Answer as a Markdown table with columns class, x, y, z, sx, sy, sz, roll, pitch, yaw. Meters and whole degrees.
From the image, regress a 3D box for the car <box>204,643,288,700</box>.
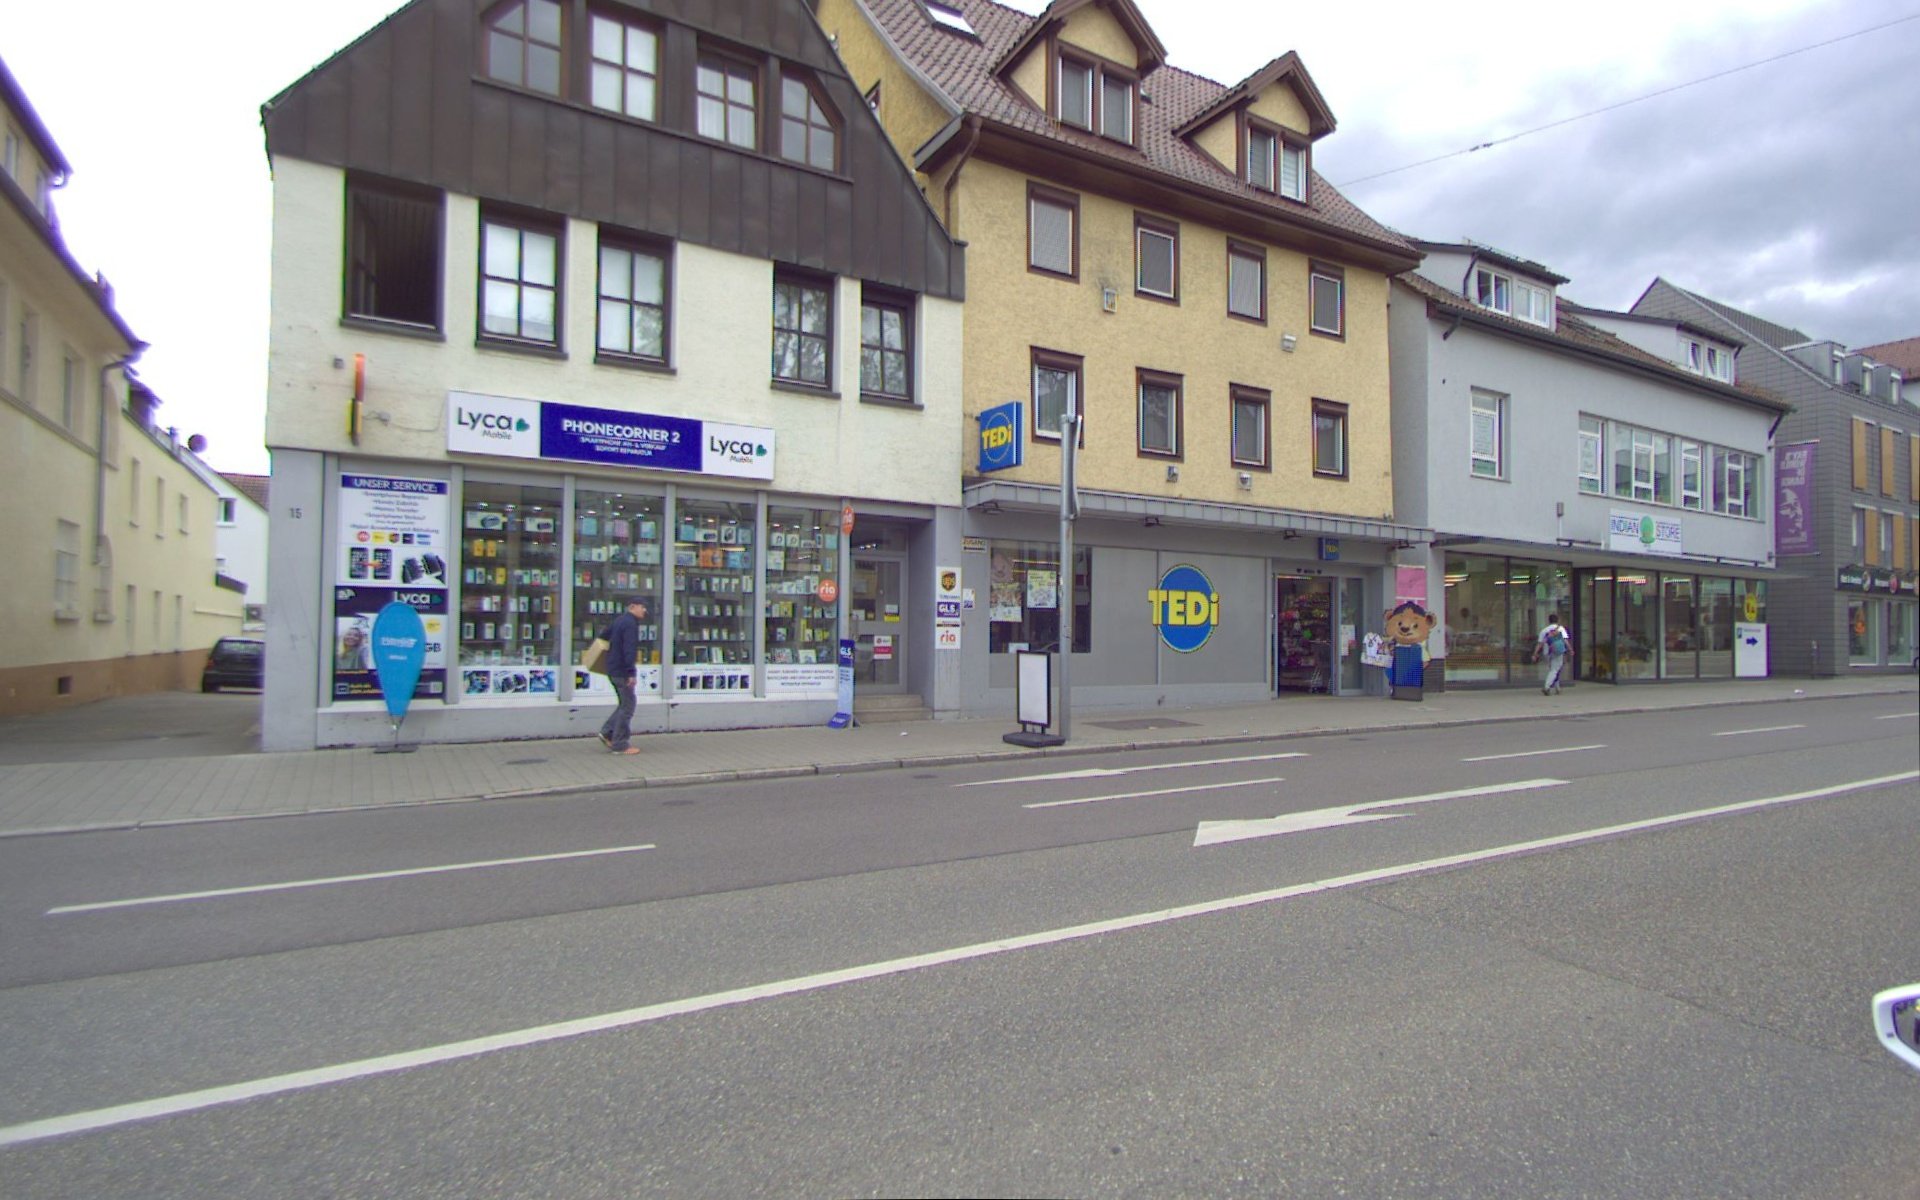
| class | x | y | z | sx | sy | sz | roll | pitch | yaw |
| --- | --- | --- | --- | --- | --- | --- | --- | --- | --- |
| car | -21.011 | 2.066 | 29.506 | 1.711 | 1.416 | 3.956 | 7 | -5 | -38 |

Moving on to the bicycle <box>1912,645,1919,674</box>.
| class | x | y | z | sx | sy | sz | roll | pitch | yaw |
| --- | --- | --- | --- | --- | --- | --- | --- | --- | --- |
| bicycle | 32.751 | 2.029 | 34.243 | 1.472 | 0.966 | 0.323 | 2 | -2 | -42 |

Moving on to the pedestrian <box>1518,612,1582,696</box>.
| class | x | y | z | sx | sy | sz | roll | pitch | yaw |
| --- | --- | --- | --- | --- | --- | --- | --- | --- | --- |
| pedestrian | 12.719 | 1.146 | 21.657 | 0.969 | 1.728 | 0.750 | 1 | 2 | -31 |

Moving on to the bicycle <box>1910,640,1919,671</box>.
| class | x | y | z | sx | sy | sz | roll | pitch | yaw |
| --- | --- | --- | --- | --- | --- | --- | --- | --- | --- |
| bicycle | 35.752 | 2.069 | 37.436 | 1.280 | 1.142 | 0.383 | 1 | -2 | -41 |

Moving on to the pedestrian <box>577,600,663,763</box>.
| class | x | y | z | sx | sy | sz | roll | pitch | yaw |
| --- | --- | --- | --- | --- | --- | --- | --- | --- | --- |
| pedestrian | -3.786 | 0.873 | 11.162 | 0.766 | 1.736 | 0.683 | 1 | 0 | -30 |
